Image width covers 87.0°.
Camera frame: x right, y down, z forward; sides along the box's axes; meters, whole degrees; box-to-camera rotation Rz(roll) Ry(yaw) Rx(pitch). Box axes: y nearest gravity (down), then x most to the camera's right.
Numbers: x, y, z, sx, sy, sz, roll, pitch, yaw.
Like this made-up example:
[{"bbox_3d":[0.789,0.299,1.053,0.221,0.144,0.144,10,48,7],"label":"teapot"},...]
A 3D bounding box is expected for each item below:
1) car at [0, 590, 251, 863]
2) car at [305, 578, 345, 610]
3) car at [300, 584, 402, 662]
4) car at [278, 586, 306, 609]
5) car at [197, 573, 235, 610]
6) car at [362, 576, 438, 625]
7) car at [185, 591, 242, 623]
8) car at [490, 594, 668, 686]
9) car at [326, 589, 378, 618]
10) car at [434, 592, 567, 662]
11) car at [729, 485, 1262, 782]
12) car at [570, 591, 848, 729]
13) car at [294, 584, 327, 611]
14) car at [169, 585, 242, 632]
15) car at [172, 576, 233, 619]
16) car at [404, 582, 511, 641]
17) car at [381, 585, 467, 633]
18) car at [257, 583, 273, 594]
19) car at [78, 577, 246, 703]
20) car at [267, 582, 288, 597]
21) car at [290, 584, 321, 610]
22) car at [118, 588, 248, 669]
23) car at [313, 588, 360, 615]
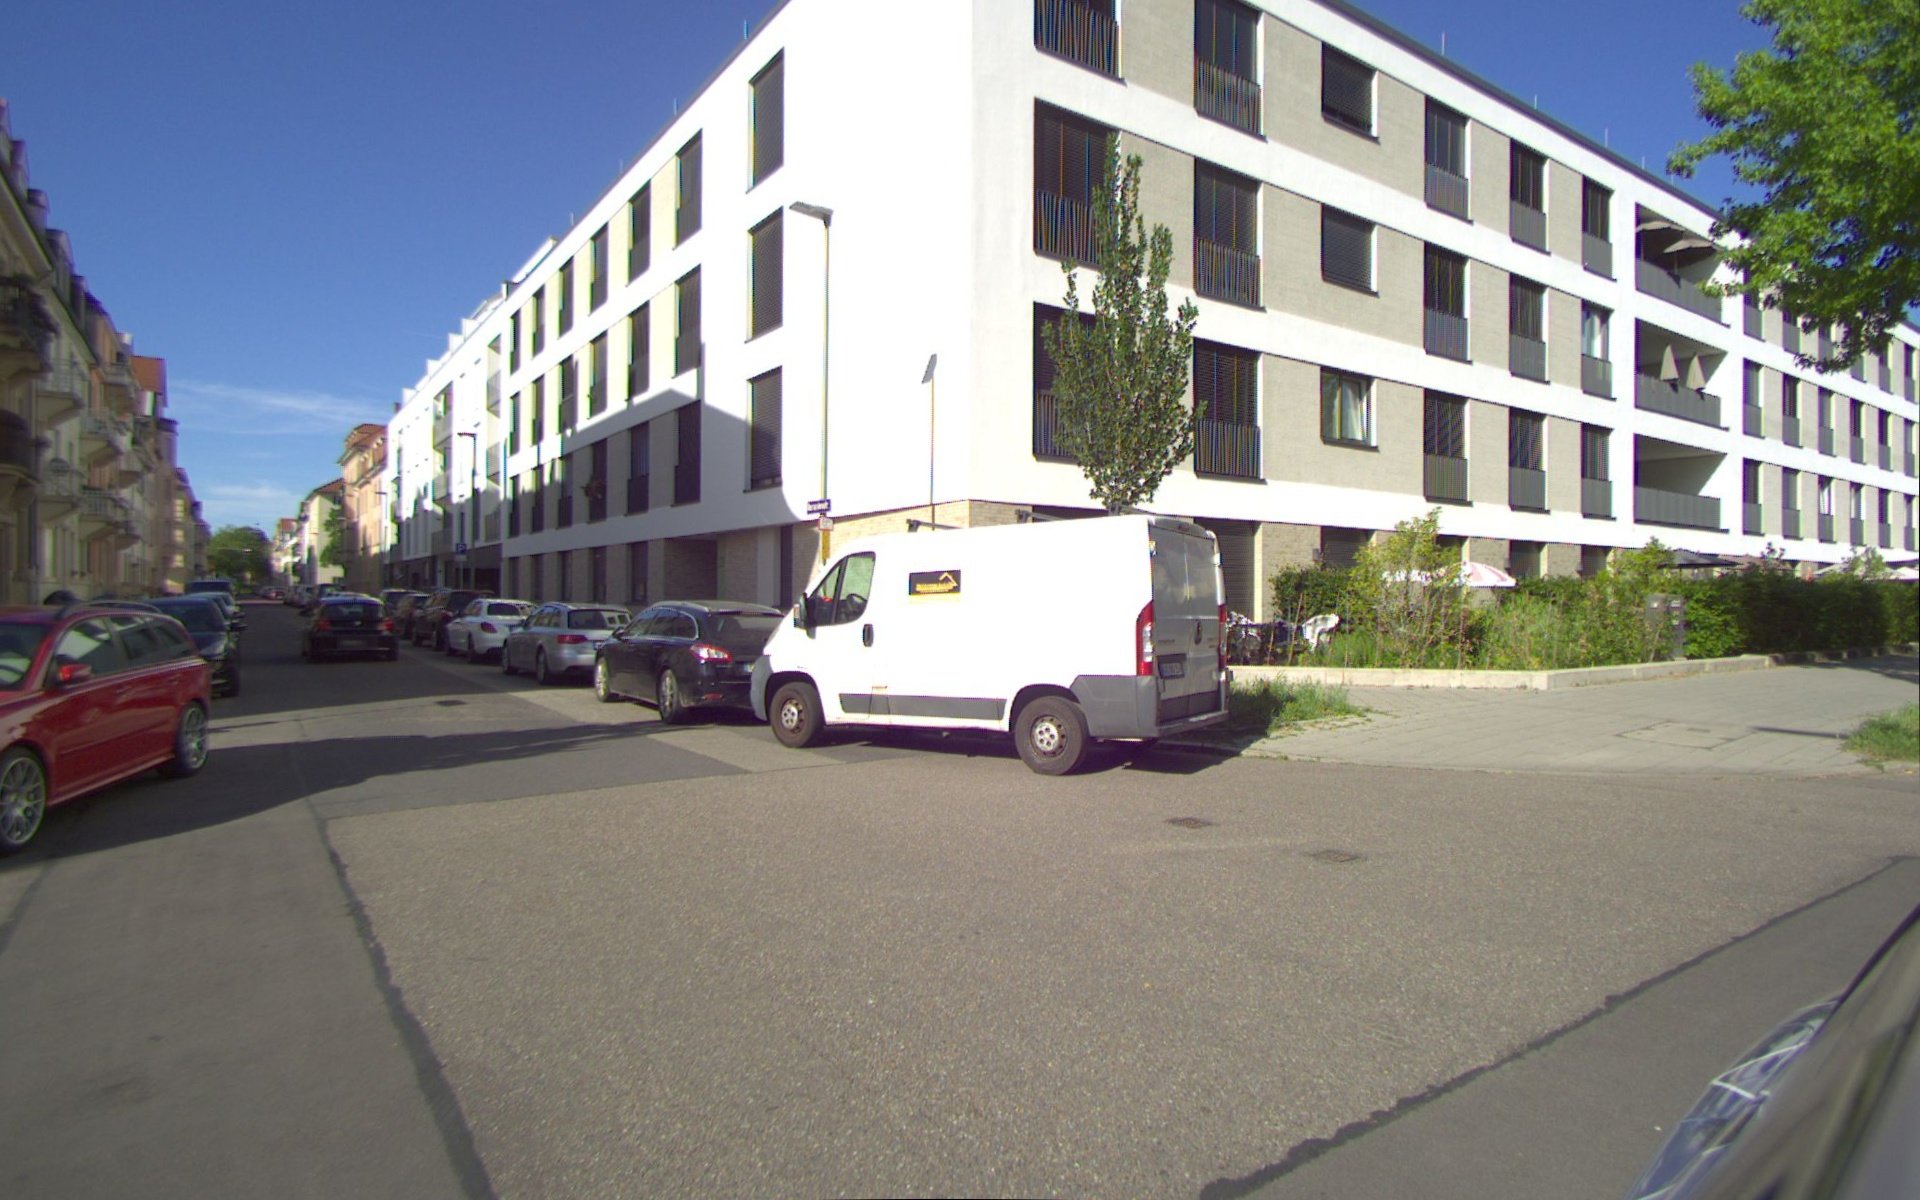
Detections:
[{"bbox_3d":[-6.785,0.683,6.983,1.912,1.488,4.743,0,1,-20],"label":"car"},{"bbox_3d":[-42.289,-0.394,67.407,1.929,2.025,4.526,0,-1,-36],"label":"car"},{"bbox_3d":[-13.850,0.443,22.920,1.754,1.542,4.001,0,1,-35],"label":"car"},{"bbox_3d":[-61.062,-0.188,92.495,1.929,2.025,4.526,0,-1,-36],"label":"car"},{"bbox_3d":[-63.171,-0.725,85.984,2.528,3.005,6.215,0,0,-36],"label":"car"},{"bbox_3d":[-21.054,0.046,37.945,1.929,1.707,4.526,0,-1,-36],"label":"car"},{"bbox_3d":[-36.198,0.313,49.147,1.961,1.494,4.001,0,0,-33],"label":"car"},{"bbox_3d":[-7.186,0.652,18.744,1.923,1.447,4.944,2,-1,-35],"label":"car"},{"bbox_3d":[-31.949,0.197,53.089,1.929,1.488,4.526,0,-1,-36],"label":"car"},{"bbox_3d":[-11.054,0.598,24.147,1.929,1.488,4.941,0,-1,-36],"label":"car"},{"bbox_3d":[0.242,0.227,10.262,5.019,2.335,2.208,1,0,33],"label":"car"},{"bbox_3d":[-3.617,0.648,13.799,2.009,1.488,4.943,0,1,-36],"label":"car"},{"bbox_3d":[-50.778,-0.164,79.089,1.929,2.025,4.526,0,-1,-36],"label":"car"},{"bbox_3d":[-26.494,0.276,35.618,1.963,1.571,4.432,0,0,-36],"label":"car"},{"bbox_3d":[-33.120,-0.104,44.357,2.056,1.755,4.813,0,0,-36],"label":"car"},{"bbox_3d":[-14.111,0.316,28.294,1.929,1.488,4.526,0,-1,-36],"label":"car"},{"bbox_3d":[-18.017,0.301,33.918,1.929,1.488,4.526,0,-1,-36],"label":"car"},{"bbox_3d":[-124.793,-1.988,181.713,1.964,1.881,3.995,0,0,-40],"label":"car"},{"bbox_3d":[-12.106,0.499,15.581,1.800,1.661,4.184,0,1,-35],"label":"car"},{"bbox_3d":[-91.668,-1.401,135.950,1.964,1.881,3.995,0,0,-40],"label":"car"},{"bbox_3d":[-54.414,-0.230,84.127,1.929,2.025,4.526,0,-1,-36],"label":"car"},{"bbox_3d":[-16.185,0.524,21.297,1.792,1.488,4.945,0,0,-33],"label":"car"},{"bbox_3d":[-35.701,0.090,57.913,1.929,1.488,4.526,0,-1,-36],"label":"car"}]
